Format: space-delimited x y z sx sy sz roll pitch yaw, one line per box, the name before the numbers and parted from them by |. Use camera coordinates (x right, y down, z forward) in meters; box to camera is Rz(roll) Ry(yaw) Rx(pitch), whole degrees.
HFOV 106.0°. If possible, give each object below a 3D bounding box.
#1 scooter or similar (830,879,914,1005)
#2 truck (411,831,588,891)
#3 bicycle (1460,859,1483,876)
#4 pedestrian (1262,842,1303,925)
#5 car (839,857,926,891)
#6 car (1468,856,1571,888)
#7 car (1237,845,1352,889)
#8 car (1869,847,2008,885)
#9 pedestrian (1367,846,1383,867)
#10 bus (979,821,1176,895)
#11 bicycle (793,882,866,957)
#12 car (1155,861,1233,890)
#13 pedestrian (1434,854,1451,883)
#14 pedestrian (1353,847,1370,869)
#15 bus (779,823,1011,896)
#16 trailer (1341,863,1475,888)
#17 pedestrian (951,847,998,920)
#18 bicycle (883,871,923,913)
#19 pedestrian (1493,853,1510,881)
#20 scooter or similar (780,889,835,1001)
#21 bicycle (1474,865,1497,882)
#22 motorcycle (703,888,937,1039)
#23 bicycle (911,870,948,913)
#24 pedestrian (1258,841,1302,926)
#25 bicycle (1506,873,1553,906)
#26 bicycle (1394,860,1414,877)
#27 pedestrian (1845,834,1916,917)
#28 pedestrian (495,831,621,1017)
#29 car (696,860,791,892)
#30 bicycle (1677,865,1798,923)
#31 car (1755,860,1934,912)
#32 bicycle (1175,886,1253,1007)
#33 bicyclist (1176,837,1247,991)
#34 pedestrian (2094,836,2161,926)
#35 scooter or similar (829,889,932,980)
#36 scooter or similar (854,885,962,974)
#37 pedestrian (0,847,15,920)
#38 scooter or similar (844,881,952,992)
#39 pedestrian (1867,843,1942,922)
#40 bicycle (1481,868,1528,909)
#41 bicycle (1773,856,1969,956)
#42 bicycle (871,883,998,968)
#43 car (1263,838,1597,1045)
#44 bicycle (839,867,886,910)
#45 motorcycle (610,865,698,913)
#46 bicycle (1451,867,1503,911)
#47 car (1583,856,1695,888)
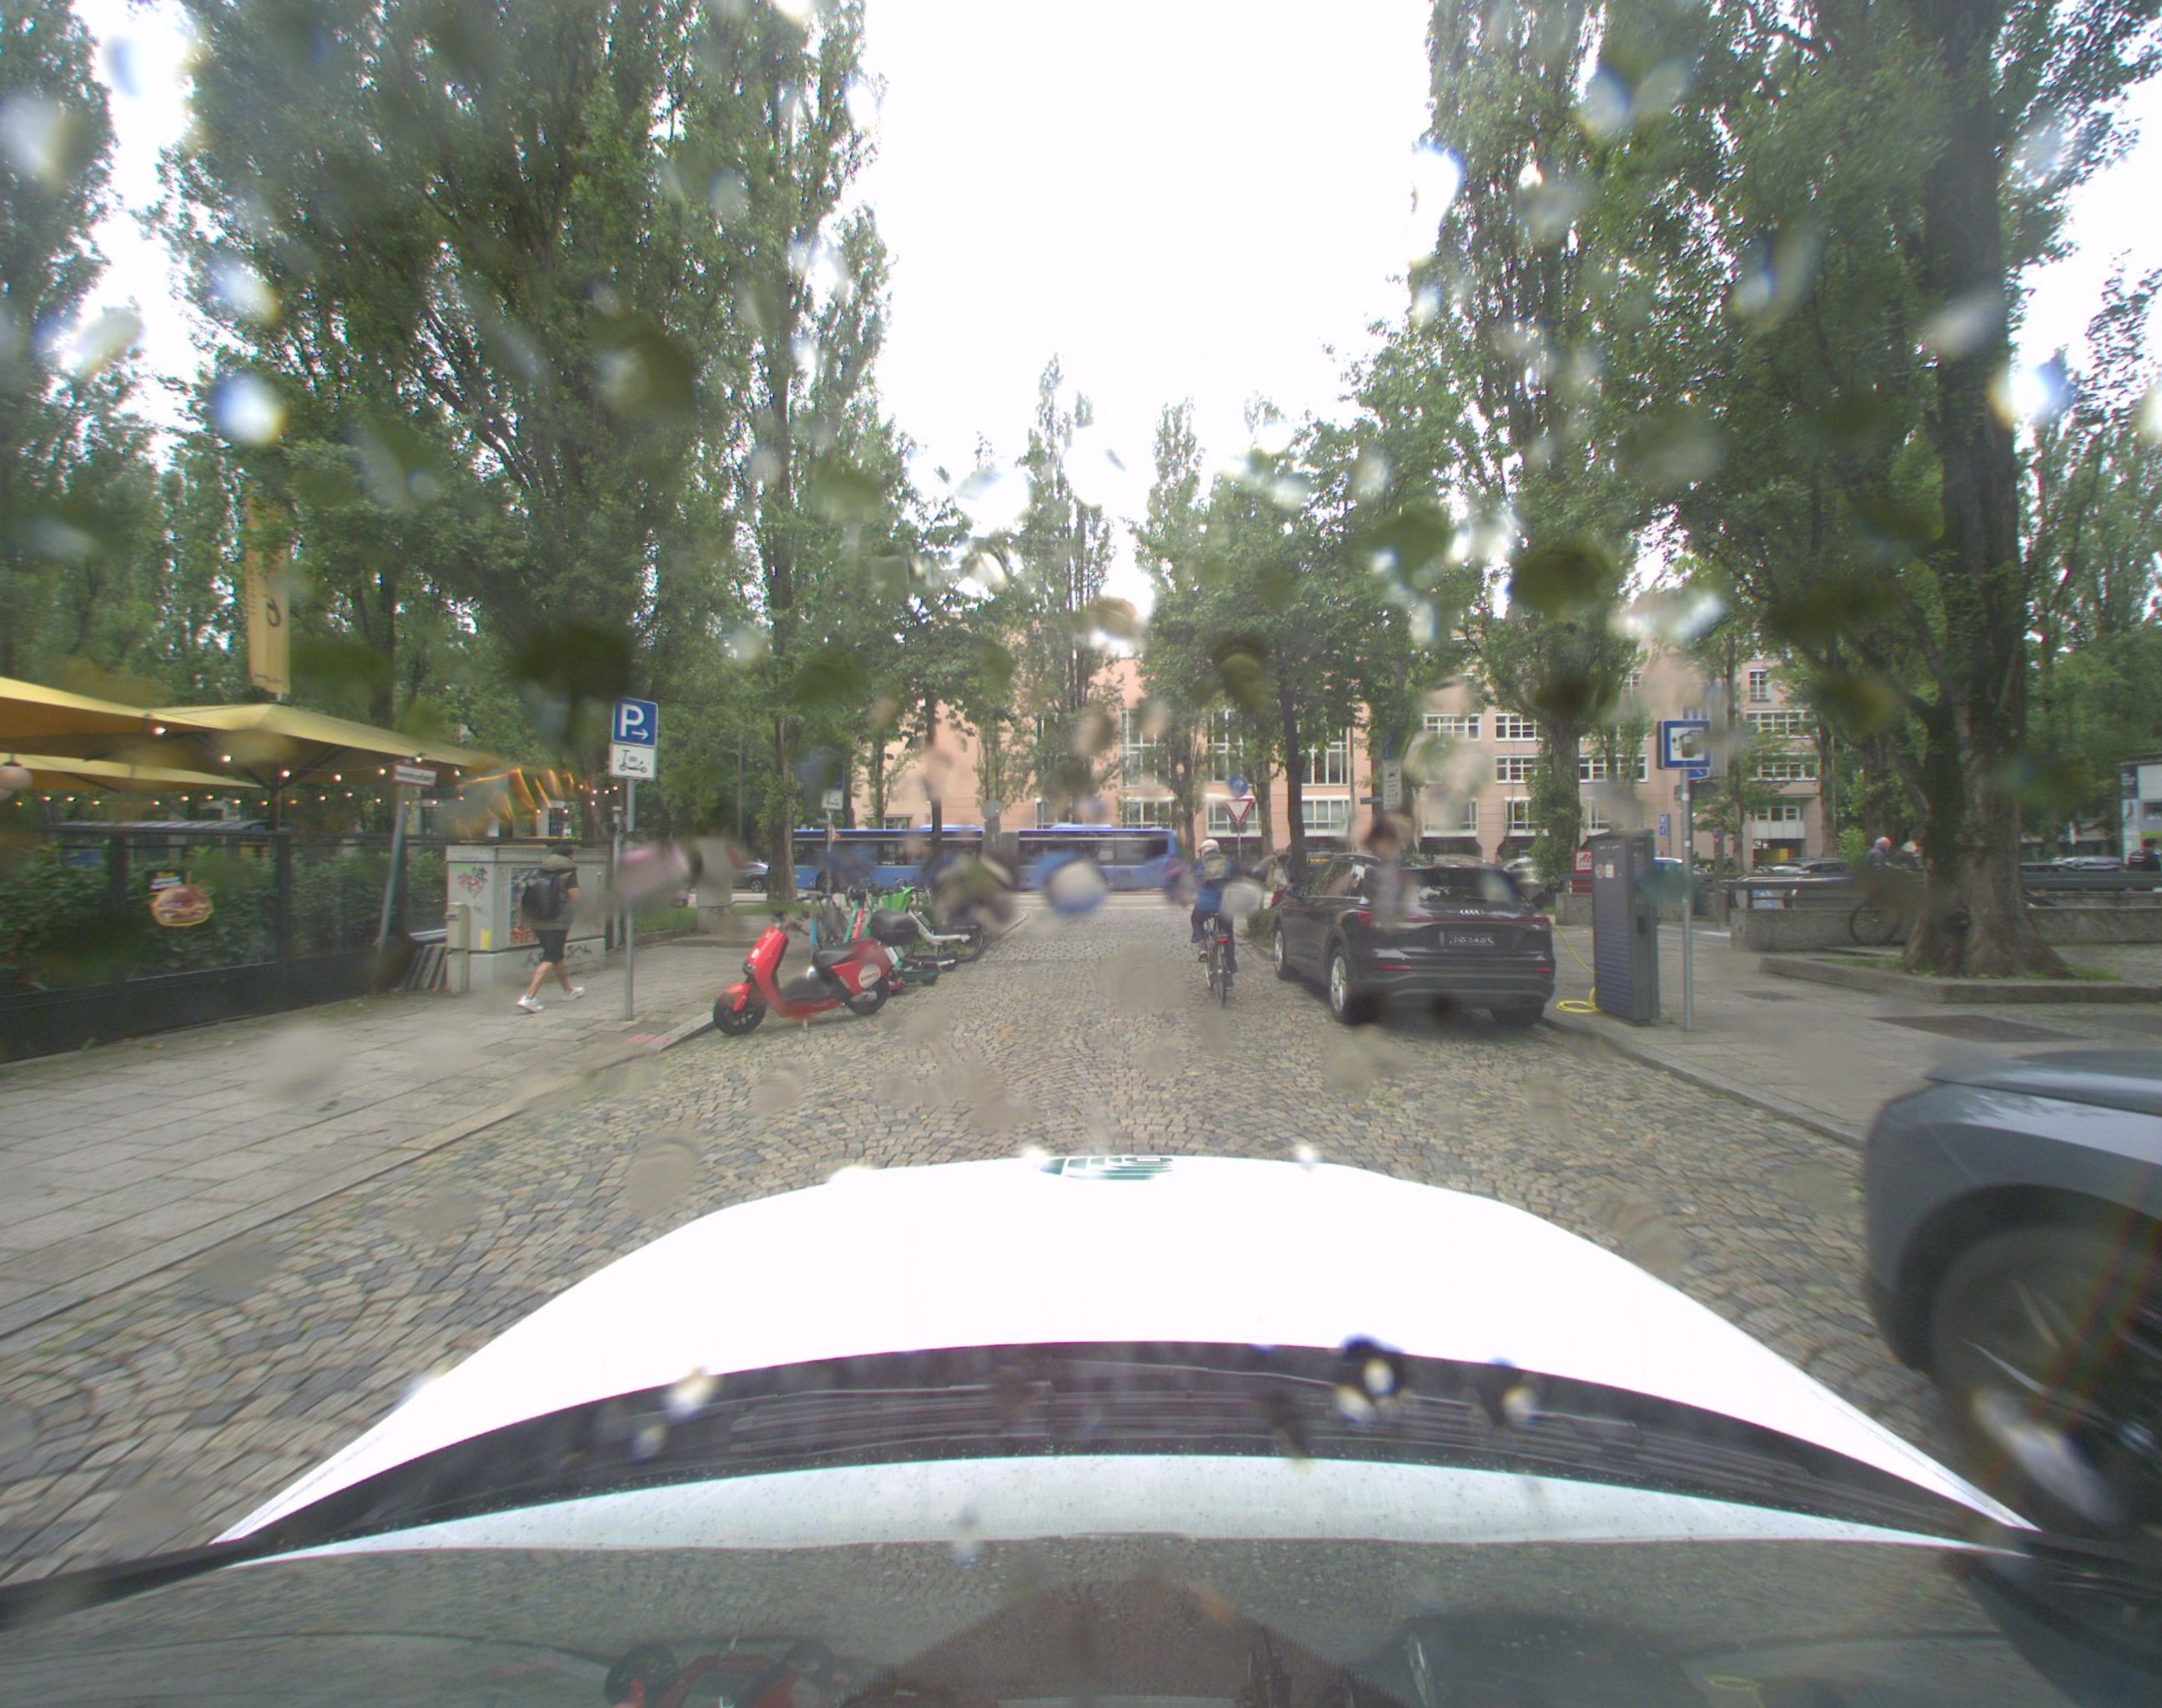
scooter or similar | -2.317 0.937 9.154 0.324 1.273 1.362 0 0 13
truck | -29.034 0.357 40.863 7.028 2.908 2.603 0 -2 2
bicycle | 26.021 0.883 54.325 0.671 1.124 2.109 -1 0 4
pedestrian | 4.208 0.604 17.068 0.798 1.696 0.666 -1 -1 12
car | -10.312 1.034 42.468 4.050 1.732 1.794 0 -2 1
car | 21.984 0.922 40.946 4.200 1.542 1.808 -1 -2 5
car | 10.859 0.657 41.734 5.456 2.197 2.025 0 0 3
car | 42.548 0.592 40.506 4.727 1.797 2.001 0 0 2
pedestrian | 18.558 0.158 51.411 0.726 1.369 0.710 0 -1 4
bus | -0.094 0.185 36.519 8.455 3.052 2.929 -1 0 2
bicycle | -3.873 0.978 12.688 0.550 1.022 1.763 0 0 1
car | 5.763 1.099 41.793 3.841 1.449 1.681 0 0 5
pedestrian | 21.371 0.869 48.163 0.726 1.713 0.710 0 -1 4
pedestrian | 17.742 0.238 51.483 0.710 1.369 0.725 0 -1 -26
bus | -8.200 0.256 36.785 9.728 3.052 2.928 -1 0 1
trailer | 16.531 1.063 41.478 5.884 1.199 2.407 0 0 4
pedestrian | -2.545 0.693 19.544 0.952 1.711 0.858 -1 -1 1
bicycle | -4.889 1.019 22.447 0.487 1.093 1.707 0 0 8
pedestrian | 25.594 0.788 49.581 0.726 1.713 0.710 0 -1 4
scooter or similar | -3.209 1.019 9.512 0.391 1.180 1.239 0 -1 -29
bicycle | 26.960 1.296 54.298 0.671 1.124 1.991 -1 0 4
motorcycle | -2.455 0.964 7.826 2.001 1.196 0.762 0 -1 -41
bicycle | -4.121 1.012 22.251 0.487 1.093 1.707 0 0 8
pedestrian | 4.021 0.583 16.504 0.837 1.680 0.613 -1 -1 12
bicycle | 11.771 0.929 21.433 0.467 0.818 1.837 0 -1 8
bicycle | 21.756 0.946 54.963 0.671 1.124 1.991 -1 0 4
pedestrian | 17.696 0.463 18.045 0.836 1.803 0.752 0 -1 8
pedestrian | -5.262 0.675 8.238 0.747 1.773 0.706 2 0 2
car | -17.637 1.119 42.653 4.205 1.601 1.795 0 0 3
bicycle | 13.511 0.803 16.809 1.849 1.160 0.590 0 -1 14
car | 23.798 0.980 25.499 3.877 1.527 1.751 0 1 4
bicycle | 1.436 0.959 9.081 0.713 1.148 1.903 0 -1 5
bicyclist | 1.415 0.632 8.951 0.718 1.619 0.758 0 0 5
pedestrian | 22.635 0.558 17.311 1.005 1.866 0.921 0 -1 8
scooter or similar | -2.582 1.027 10.500 1.242 1.144 0.328 0 -1 3
scooter or similar | -2.383 1.018 11.251 1.431 1.144 0.367 0 -1 -22
pedestrian | -25.885 0.705 19.194 0.645 1.727 0.698 0 -1 -21
scooter or similar | -2.237 0.979 9.993 1.254 1.273 0.324 0 -1 -28
pedestrian | 17.181 0.580 17.008 0.826 1.606 0.700 0 -1 8
bicycle | 11.053 0.880 21.302 0.509 1.038 1.837 0 -1 8
bicycle | 10.510 0.676 10.888 1.855 1.276 0.722 0 -1 4
bicycle | -2.141 1.023 12.018 1.767 1.143 0.549 0 -1 -29
car | 3.361 0.733 8.844 1.913 1.700 4.202 0 0 1
bicycle | -6.000 0.930 22.444 0.487 1.093 1.988 0 0 8
motorcycle | -11.564 0.920 22.097 2.002 1.196 0.622 -1 0 -41
bicycle | 10.321 0.889 21.305 0.509 1.105 1.932 0 -1 3
car | 28.133 0.906 41.142 4.295 1.542 2.000 0 0 1
